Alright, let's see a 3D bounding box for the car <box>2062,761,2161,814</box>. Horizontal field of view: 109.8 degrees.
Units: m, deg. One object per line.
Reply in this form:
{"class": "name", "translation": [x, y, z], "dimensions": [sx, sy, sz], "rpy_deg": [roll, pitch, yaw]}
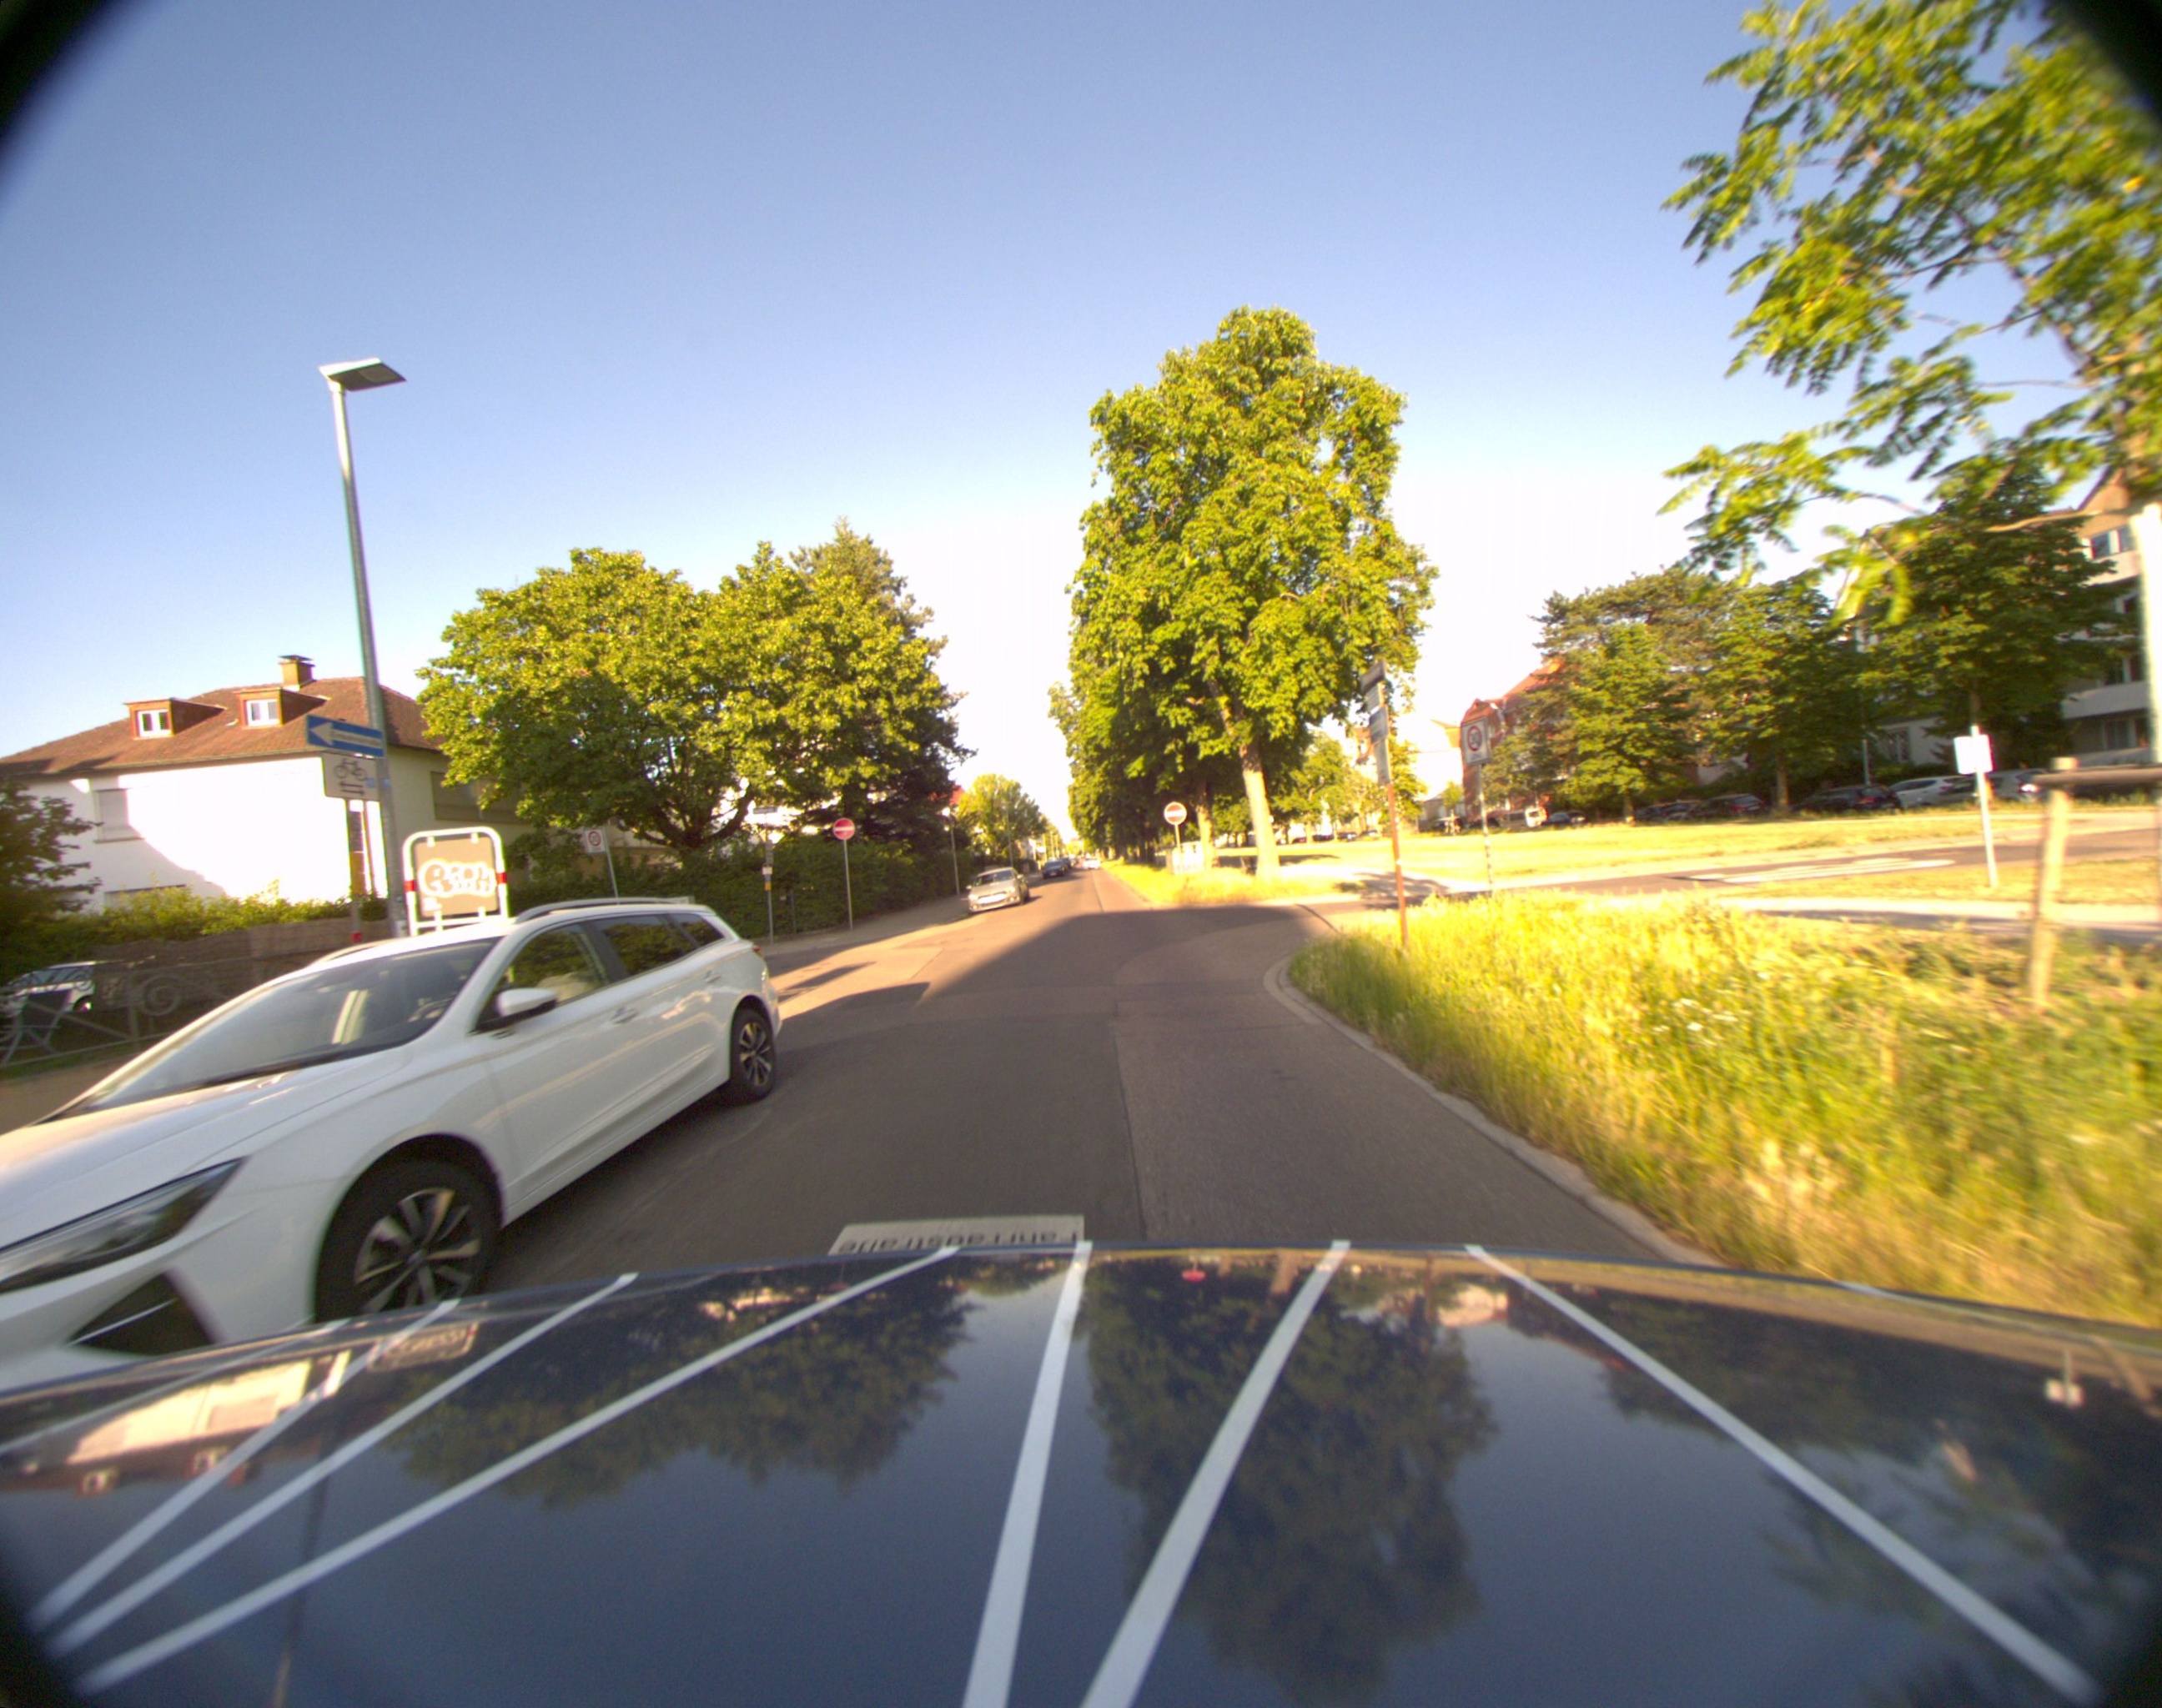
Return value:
{"class": "car", "translation": [34.299, -2.180, 24.014], "dimensions": [1.894, 1.513, 3.681], "rpy_deg": [-5, 0, 6]}

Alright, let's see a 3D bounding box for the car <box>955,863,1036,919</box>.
{"class": "car", "translation": [-2.930, 1.238, 26.948], "dimensions": [2.111, 1.396, 4.132], "rpy_deg": [-11, 0, 1]}

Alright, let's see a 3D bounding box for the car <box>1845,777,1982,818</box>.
{"class": "car", "translation": [39.999, -2.677, 36.677], "dimensions": [1.999, 1.490, 3.999], "rpy_deg": [-6, 0, -4]}

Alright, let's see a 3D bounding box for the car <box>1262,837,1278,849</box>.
{"class": "car", "translation": [35.534, -2.018, 143.214], "dimensions": [1.998, 2.002, 4.001], "rpy_deg": [-6, 0, 3]}

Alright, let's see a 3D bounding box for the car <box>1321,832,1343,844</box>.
{"class": "car", "translation": [40.088, -2.599, 121.380], "dimensions": [1.999, 1.872, 3.998], "rpy_deg": [-3, 2, -2]}

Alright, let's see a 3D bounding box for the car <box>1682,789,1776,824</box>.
{"class": "car", "translation": [34.060, -2.471, 40.058], "dimensions": [1.560, 1.408, 3.642], "rpy_deg": [-6, 0, -4]}

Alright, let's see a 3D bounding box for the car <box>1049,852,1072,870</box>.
{"class": "car", "translation": [-2.061, 0.710, 77.976], "dimensions": [1.998, 1.624, 4.000], "rpy_deg": [-6, 0, 1]}

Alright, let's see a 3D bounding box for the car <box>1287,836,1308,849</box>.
{"class": "car", "translation": [35.066, -1.851, 123.056], "dimensions": [2.125, 2.002, 3.998], "rpy_deg": [-3, 2, -1]}

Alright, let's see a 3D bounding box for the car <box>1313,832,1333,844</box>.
{"class": "car", "translation": [40.390, -2.640, 126.952], "dimensions": [1.999, 1.835, 3.998], "rpy_deg": [-3, 2, -2]}

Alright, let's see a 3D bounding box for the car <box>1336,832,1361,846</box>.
{"class": "car", "translation": [40.679, -2.306, 115.671], "dimensions": [1.999, 1.895, 3.999], "rpy_deg": [-6, 0, -2]}

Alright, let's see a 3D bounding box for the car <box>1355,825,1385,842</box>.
{"class": "car", "translation": [34.965, -2.492, 92.071], "dimensions": [1.998, 1.692, 4.000], "rpy_deg": [-6, 0, 1]}

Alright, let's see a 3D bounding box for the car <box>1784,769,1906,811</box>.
{"class": "car", "translation": [33.970, -2.808, 33.940], "dimensions": [1.560, 1.360, 3.642], "rpy_deg": [-6, 0, -4]}

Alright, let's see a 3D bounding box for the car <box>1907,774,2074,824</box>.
{"class": "car", "translation": [33.947, -2.001, 28.515], "dimensions": [1.692, 1.399, 3.642], "rpy_deg": [-6, 0, -4]}

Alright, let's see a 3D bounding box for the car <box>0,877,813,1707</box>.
{"class": "car", "translation": [-3.249, 1.172, 3.686], "dimensions": [1.880, 1.525, 4.589], "rpy_deg": [-11, 1, 2]}

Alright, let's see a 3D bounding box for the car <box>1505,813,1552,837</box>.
{"class": "car", "translation": [40.463, -2.626, 68.819], "dimensions": [1.998, 2.002, 4.000], "rpy_deg": [-2, 2, 3]}

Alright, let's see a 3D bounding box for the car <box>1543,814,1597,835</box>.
{"class": "car", "translation": [40.385, -2.391, 62.876], "dimensions": [1.998, 1.596, 4.000], "rpy_deg": [-3, 2, 3]}

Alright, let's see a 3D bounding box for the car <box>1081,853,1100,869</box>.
{"class": "car", "translation": [1.059, 0.773, 84.624], "dimensions": [1.998, 1.484, 3.999], "rpy_deg": [-3, 2, 1]}

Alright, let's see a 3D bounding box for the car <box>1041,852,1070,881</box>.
{"class": "car", "translation": [-2.119, 1.055, 64.089], "dimensions": [1.998, 2.179, 4.000], "rpy_deg": [-6, 0, 1]}

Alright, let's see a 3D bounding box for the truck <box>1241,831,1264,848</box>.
{"class": "truck", "translation": [35.832, -3.043, 158.950], "dimensions": [2.785, 3.127, 7.710], "rpy_deg": [-5, 0, -1]}

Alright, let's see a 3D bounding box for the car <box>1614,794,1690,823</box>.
{"class": "car", "translation": [33.940, -2.676, 45.284], "dimensions": [1.560, 1.323, 3.642], "rpy_deg": [-6, 0, -4]}

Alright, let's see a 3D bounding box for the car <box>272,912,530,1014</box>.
{"class": "car", "translation": [-14.906, 2.347, 16.817], "dimensions": [3.914, 1.585, 1.876], "rpy_deg": [-8, -3, 0]}
